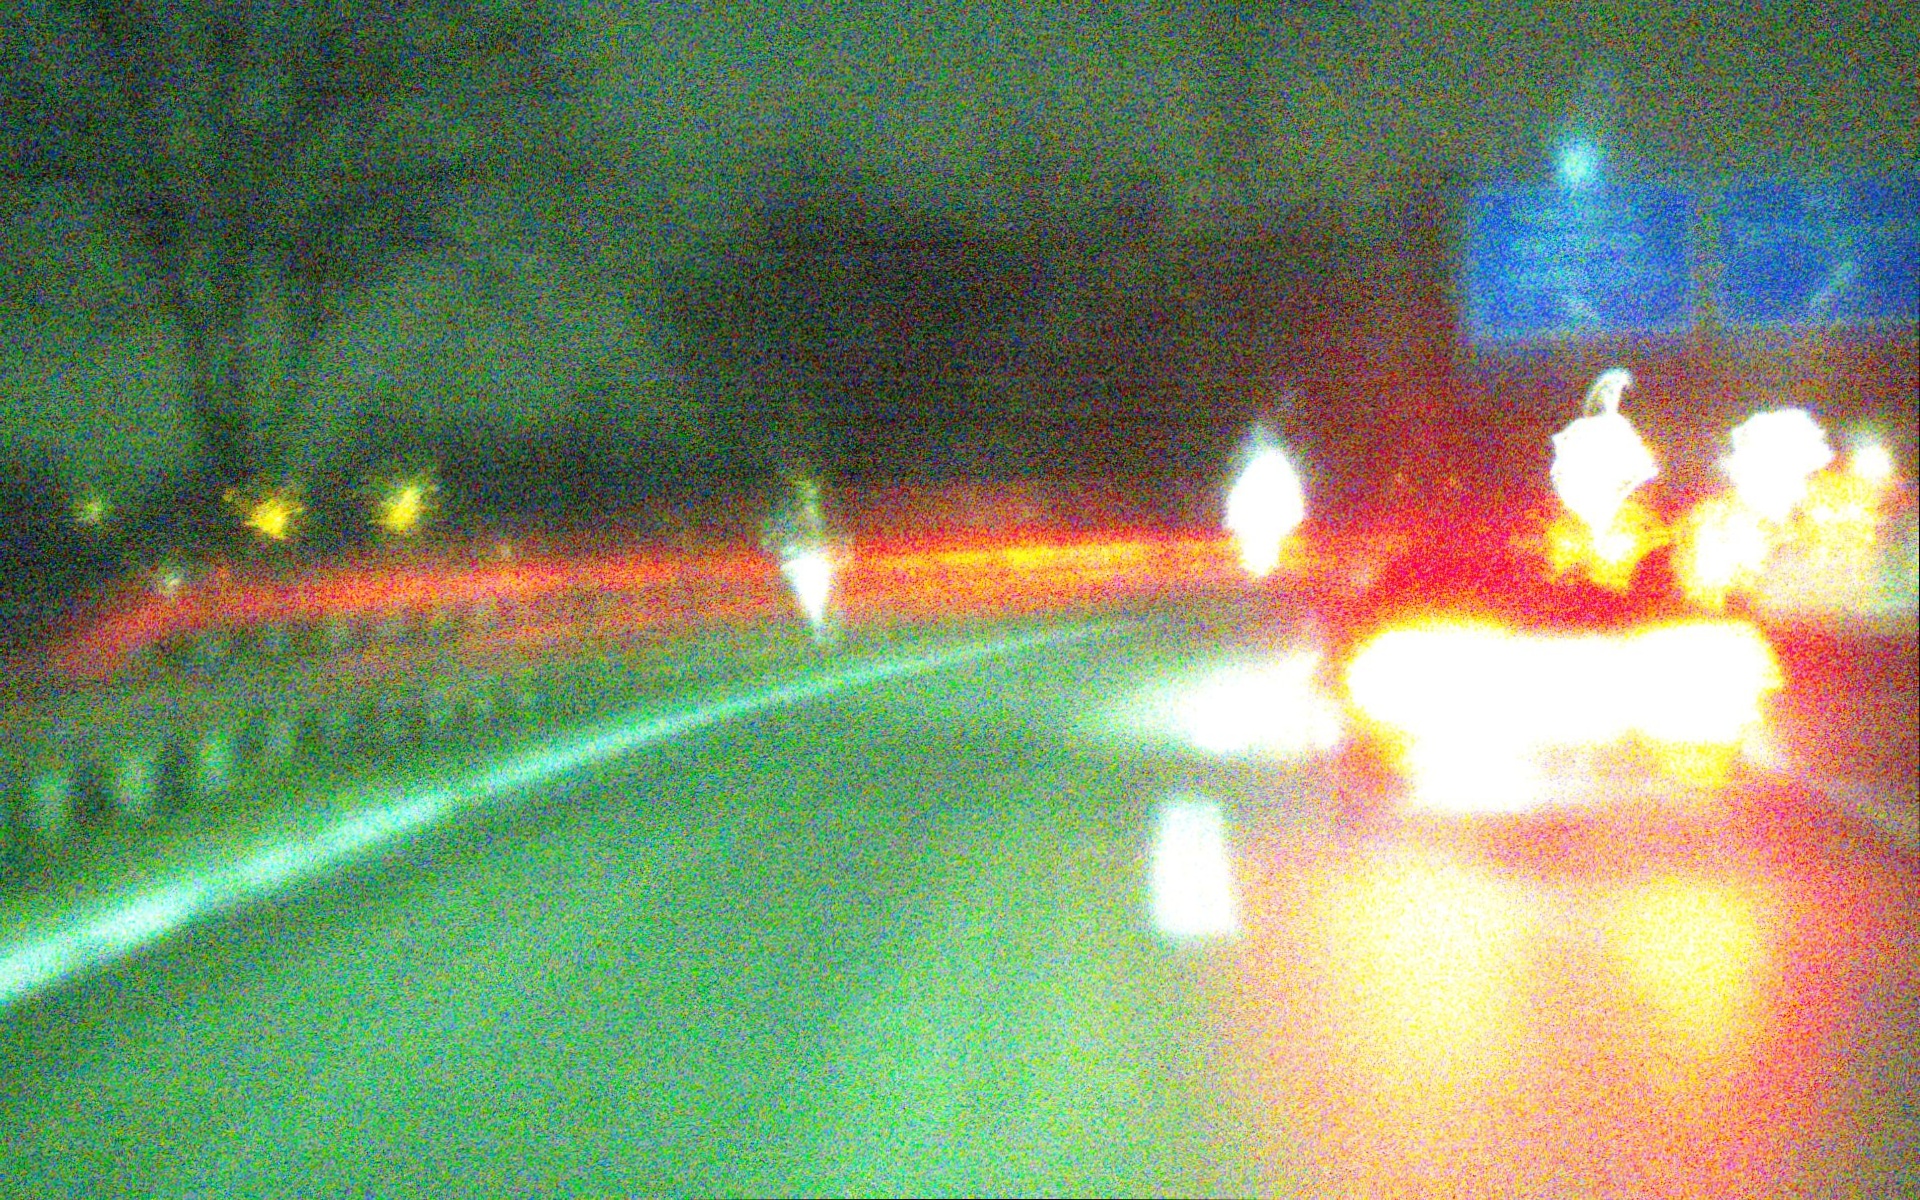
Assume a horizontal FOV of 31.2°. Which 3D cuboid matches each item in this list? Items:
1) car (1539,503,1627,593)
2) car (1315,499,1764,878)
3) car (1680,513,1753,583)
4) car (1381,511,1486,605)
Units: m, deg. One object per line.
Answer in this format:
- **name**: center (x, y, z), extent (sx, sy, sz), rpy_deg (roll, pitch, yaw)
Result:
- **car**: center (14.439, -1.190, 79.553), extent (1.896, 2.033, 4.043), rpy_deg (0, 1, 12)
- **car**: center (2.804, 0.345, 17.453), extent (1.861, 1.641, 4.068), rpy_deg (2, 1, 5)
- **car**: center (21.988, -1.516, 99.800), extent (1.896, 1.991, 4.043), rpy_deg (0, 1, 15)
- **car**: center (8.916, -0.795, 64.771), extent (1.896, 1.714, 4.044), rpy_deg (0, 1, 8)
